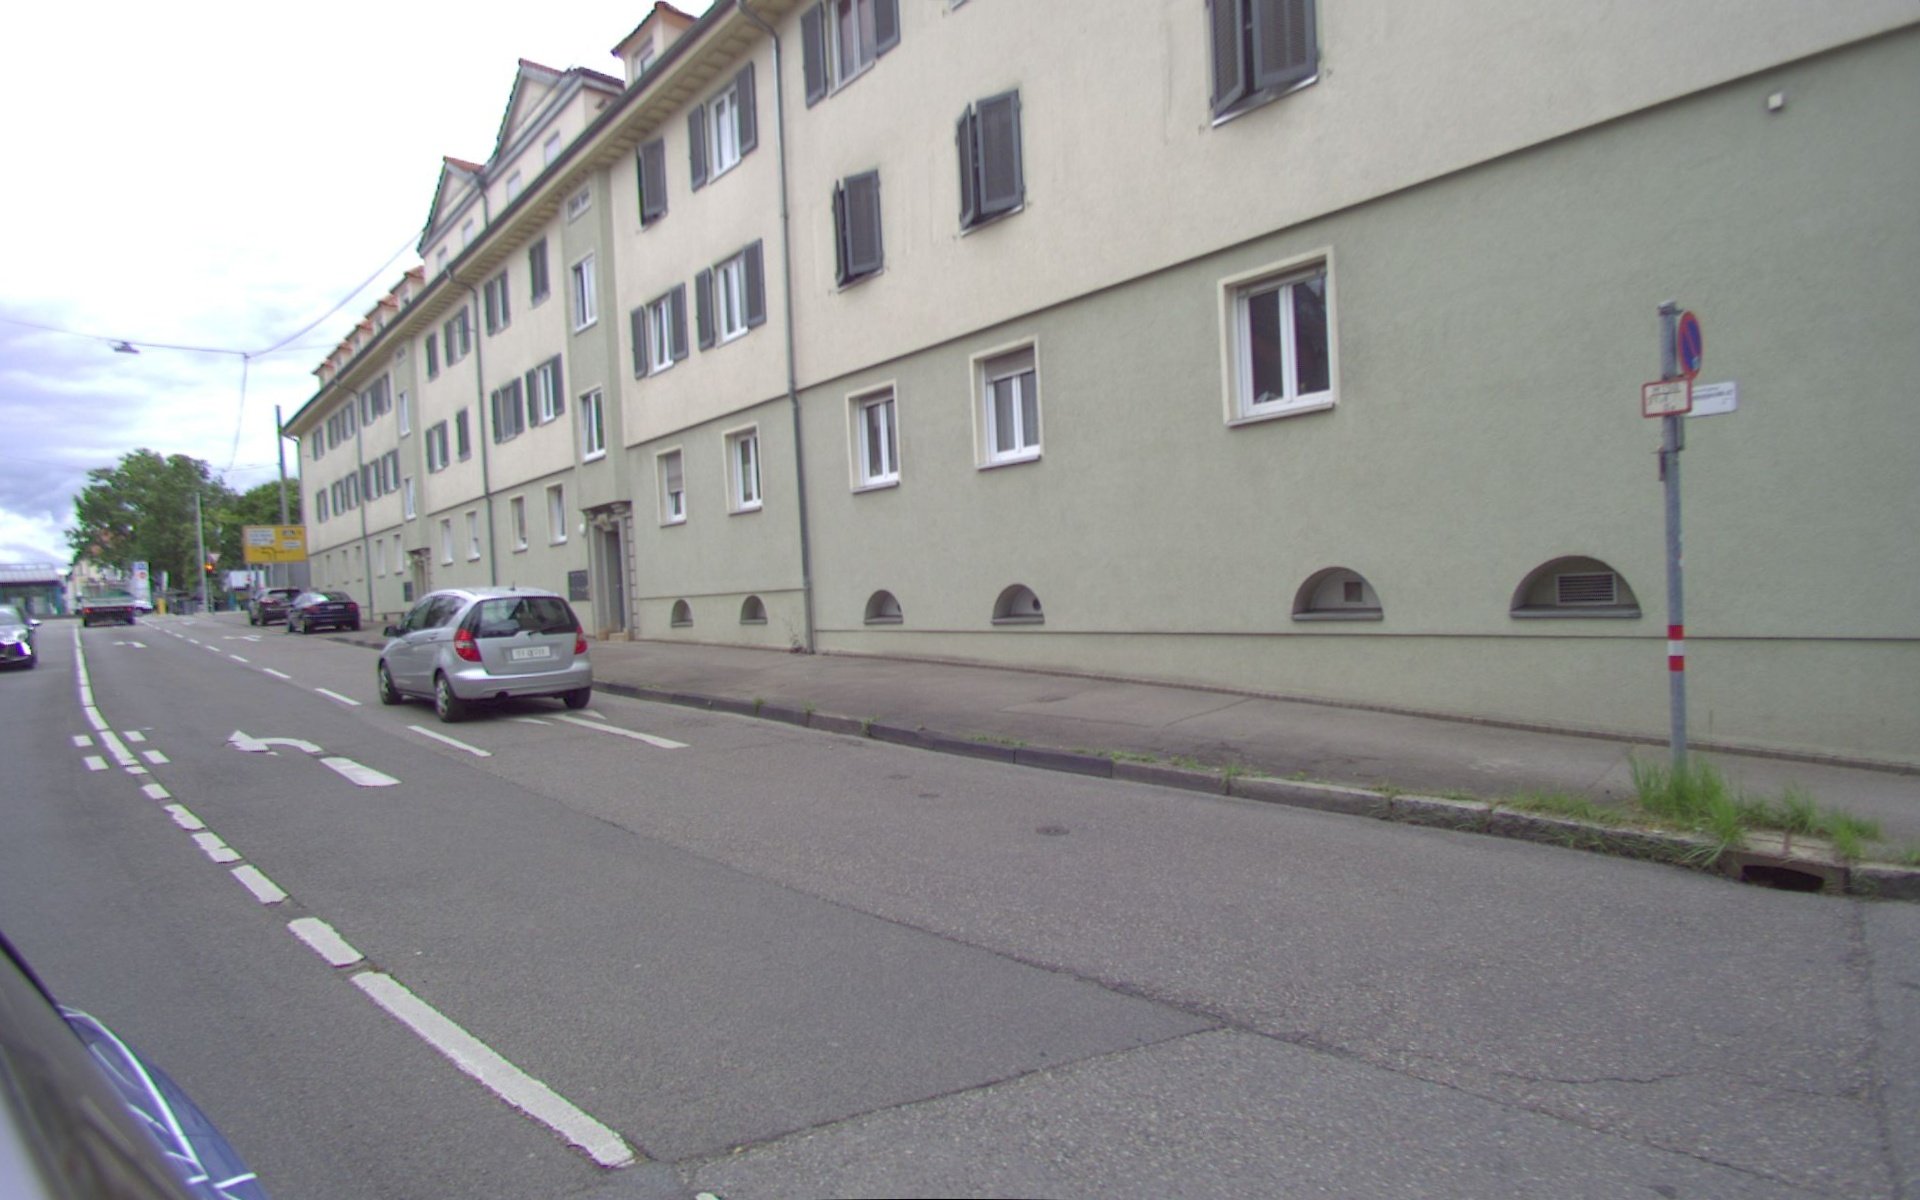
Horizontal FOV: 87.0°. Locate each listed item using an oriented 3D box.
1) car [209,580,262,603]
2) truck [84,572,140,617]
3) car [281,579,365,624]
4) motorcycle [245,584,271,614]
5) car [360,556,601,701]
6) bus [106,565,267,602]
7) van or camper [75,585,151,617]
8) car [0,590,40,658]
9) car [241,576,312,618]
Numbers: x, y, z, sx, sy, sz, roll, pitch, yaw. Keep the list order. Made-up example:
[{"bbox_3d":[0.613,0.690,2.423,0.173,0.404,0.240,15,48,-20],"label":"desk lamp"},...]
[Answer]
[{"bbox_3d":[-70.966,-0.829,99.170,2.000,2.206,3.943,1,2,43],"label":"car"},{"bbox_3d":[-44.589,-0.357,53.164,2.095,2.217,6.600,-2,2,-41],"label":"truck"},{"bbox_3d":[-22.752,0.009,36.064,1.690,1.413,4.852,-3,3,-42],"label":"car"},{"bbox_3d":[-33.244,-0.061,47.907,0.618,1.300,2.232,-5,5,-43],"label":"motorcycle"},{"bbox_3d":[-6.466,0.301,13.442,1.702,1.617,3.980,-3,2,-43],"label":"car"},{"bbox_3d":[-71.288,-1.539,93.668,11.668,3.085,2.004,-2,0,-38],"label":"bus"},{"bbox_3d":[-59.345,0.053,70.915,3.992,2.028,2.003,-3,3,-42],"label":"van or camper"},{"bbox_3d":[-21.813,0.516,22.661,1.622,1.408,3.787,-3,3,-41],"label":"car"},{"bbox_3d":[-29.831,-0.178,44.120,1.800,1.645,4.701,-5,4,-43],"label":"car"}]
